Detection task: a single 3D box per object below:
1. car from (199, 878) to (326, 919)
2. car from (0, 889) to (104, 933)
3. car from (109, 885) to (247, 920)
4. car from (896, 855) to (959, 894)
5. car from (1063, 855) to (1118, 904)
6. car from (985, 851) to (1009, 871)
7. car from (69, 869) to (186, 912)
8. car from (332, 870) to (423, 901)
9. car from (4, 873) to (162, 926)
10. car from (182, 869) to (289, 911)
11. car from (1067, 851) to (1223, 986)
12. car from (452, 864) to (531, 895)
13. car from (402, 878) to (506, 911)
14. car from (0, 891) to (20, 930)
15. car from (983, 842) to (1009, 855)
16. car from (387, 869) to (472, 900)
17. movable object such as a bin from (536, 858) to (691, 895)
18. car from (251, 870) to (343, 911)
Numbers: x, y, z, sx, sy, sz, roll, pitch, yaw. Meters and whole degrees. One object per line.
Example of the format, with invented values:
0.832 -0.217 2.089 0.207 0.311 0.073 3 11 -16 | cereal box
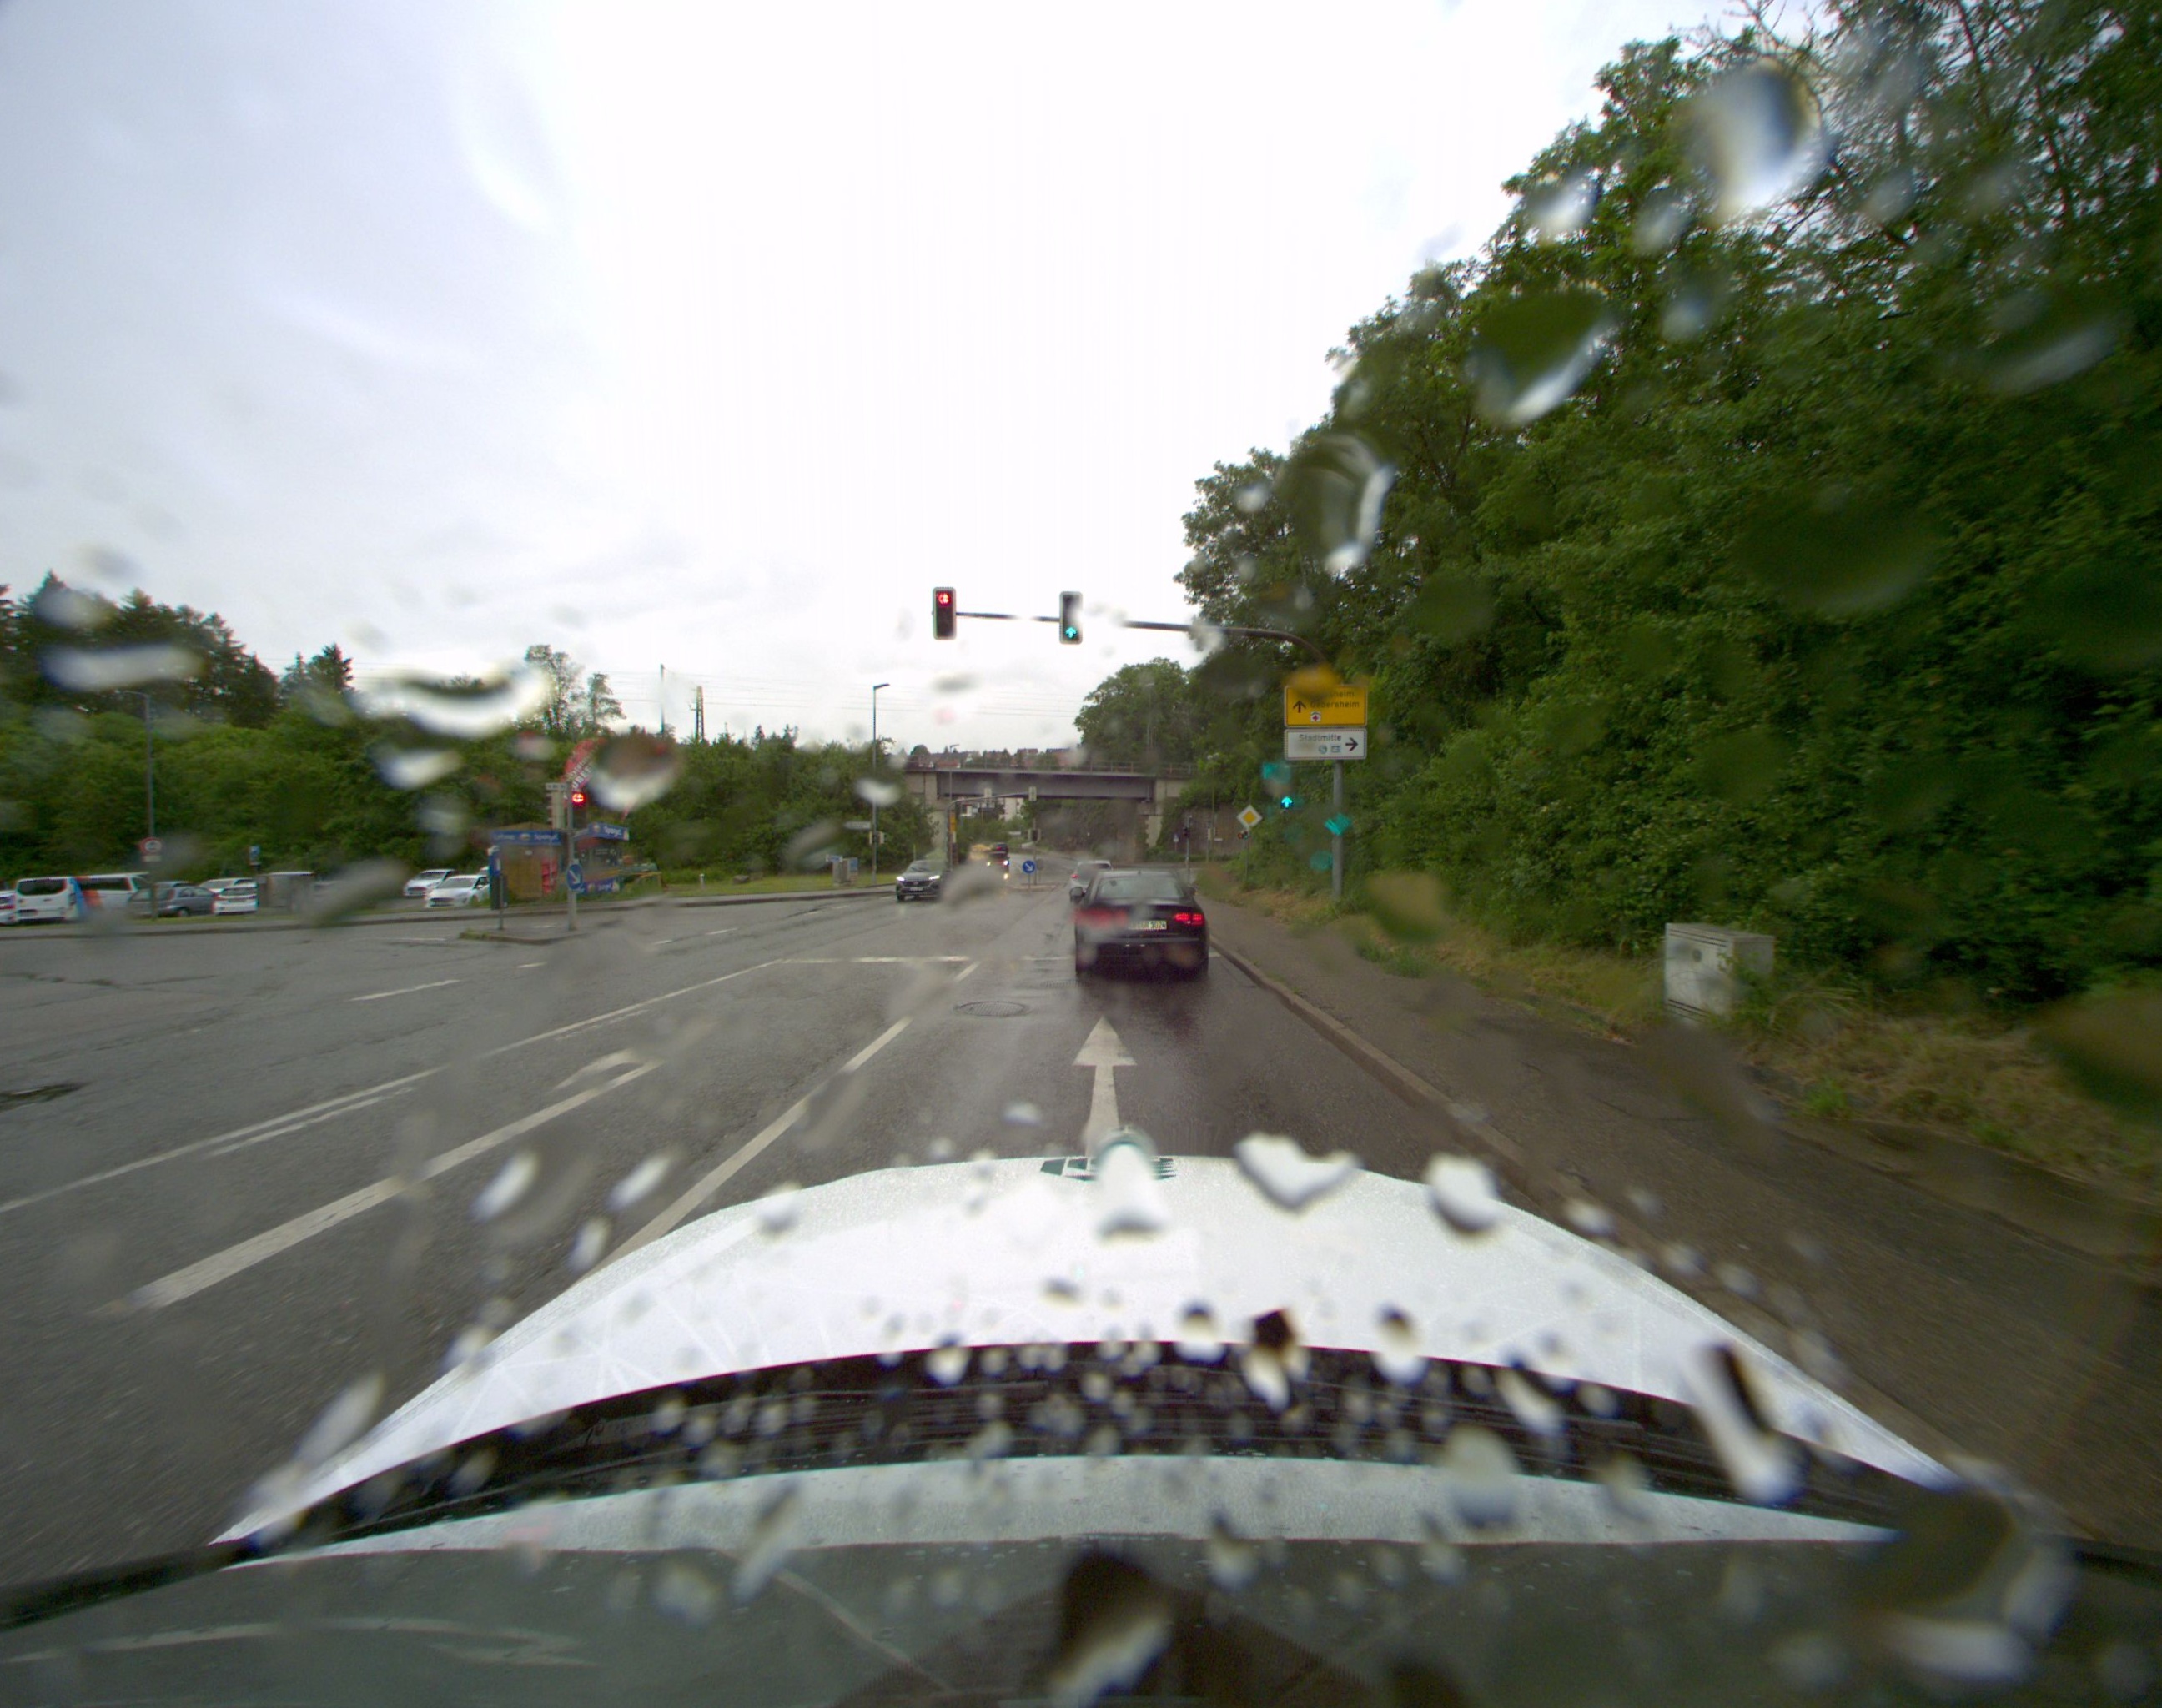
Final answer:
-34.813 1.851 34.803 1.937 1.585 3.892 -1 -1 -11 | car
-41.907 2.245 32.423 1.858 1.585 3.978 0 -1 -16 | car
-37.343 1.968 33.847 1.751 1.310 3.984 -1 -1 -11 | car
-6.072 0.785 32.573 1.633 1.470 4.001 -1 0 1 | car
0.388 0.903 29.196 1.816 1.585 4.001 -1 -1 2 | car
-7.172 0.575 69.990 1.990 1.628 3.993 -2 0 -5 | car
-49.513 1.839 42.439 1.997 2.013 3.980 -1 0 -14 | car
-38.132 1.675 44.286 1.994 1.585 3.984 -1 -1 -11 | car
-39.622 1.763 32.504 1.997 1.949 3.978 0 -2 -16 | car
-44.951 1.852 43.422 1.995 2.013 3.983 -2 0 -12 | car
0.838 0.829 11.875 1.863 1.617 4.001 -1 -1 2 | car
-32.796 1.375 45.450 1.994 1.585 3.984 -2 0 -11 | car
-27.947 1.749 36.521 1.652 1.340 4.883 -1 -1 -11 | car
-44.541 2.289 31.714 1.837 1.585 3.978 0 -1 -16 | car
-11.300 -0.786 108.157 2.005 1.595 3.965 -2 3 -28 | car
-35.529 1.641 44.568 1.994 1.585 3.984 -1 -1 -11 | car
-22.175 1.038 38.834 2.716 1.628 5.816 -2 -2 41 | movable object such as a bin
-42.351 1.916 44.101 1.941 2.014 3.848 0 0 -15 | car
